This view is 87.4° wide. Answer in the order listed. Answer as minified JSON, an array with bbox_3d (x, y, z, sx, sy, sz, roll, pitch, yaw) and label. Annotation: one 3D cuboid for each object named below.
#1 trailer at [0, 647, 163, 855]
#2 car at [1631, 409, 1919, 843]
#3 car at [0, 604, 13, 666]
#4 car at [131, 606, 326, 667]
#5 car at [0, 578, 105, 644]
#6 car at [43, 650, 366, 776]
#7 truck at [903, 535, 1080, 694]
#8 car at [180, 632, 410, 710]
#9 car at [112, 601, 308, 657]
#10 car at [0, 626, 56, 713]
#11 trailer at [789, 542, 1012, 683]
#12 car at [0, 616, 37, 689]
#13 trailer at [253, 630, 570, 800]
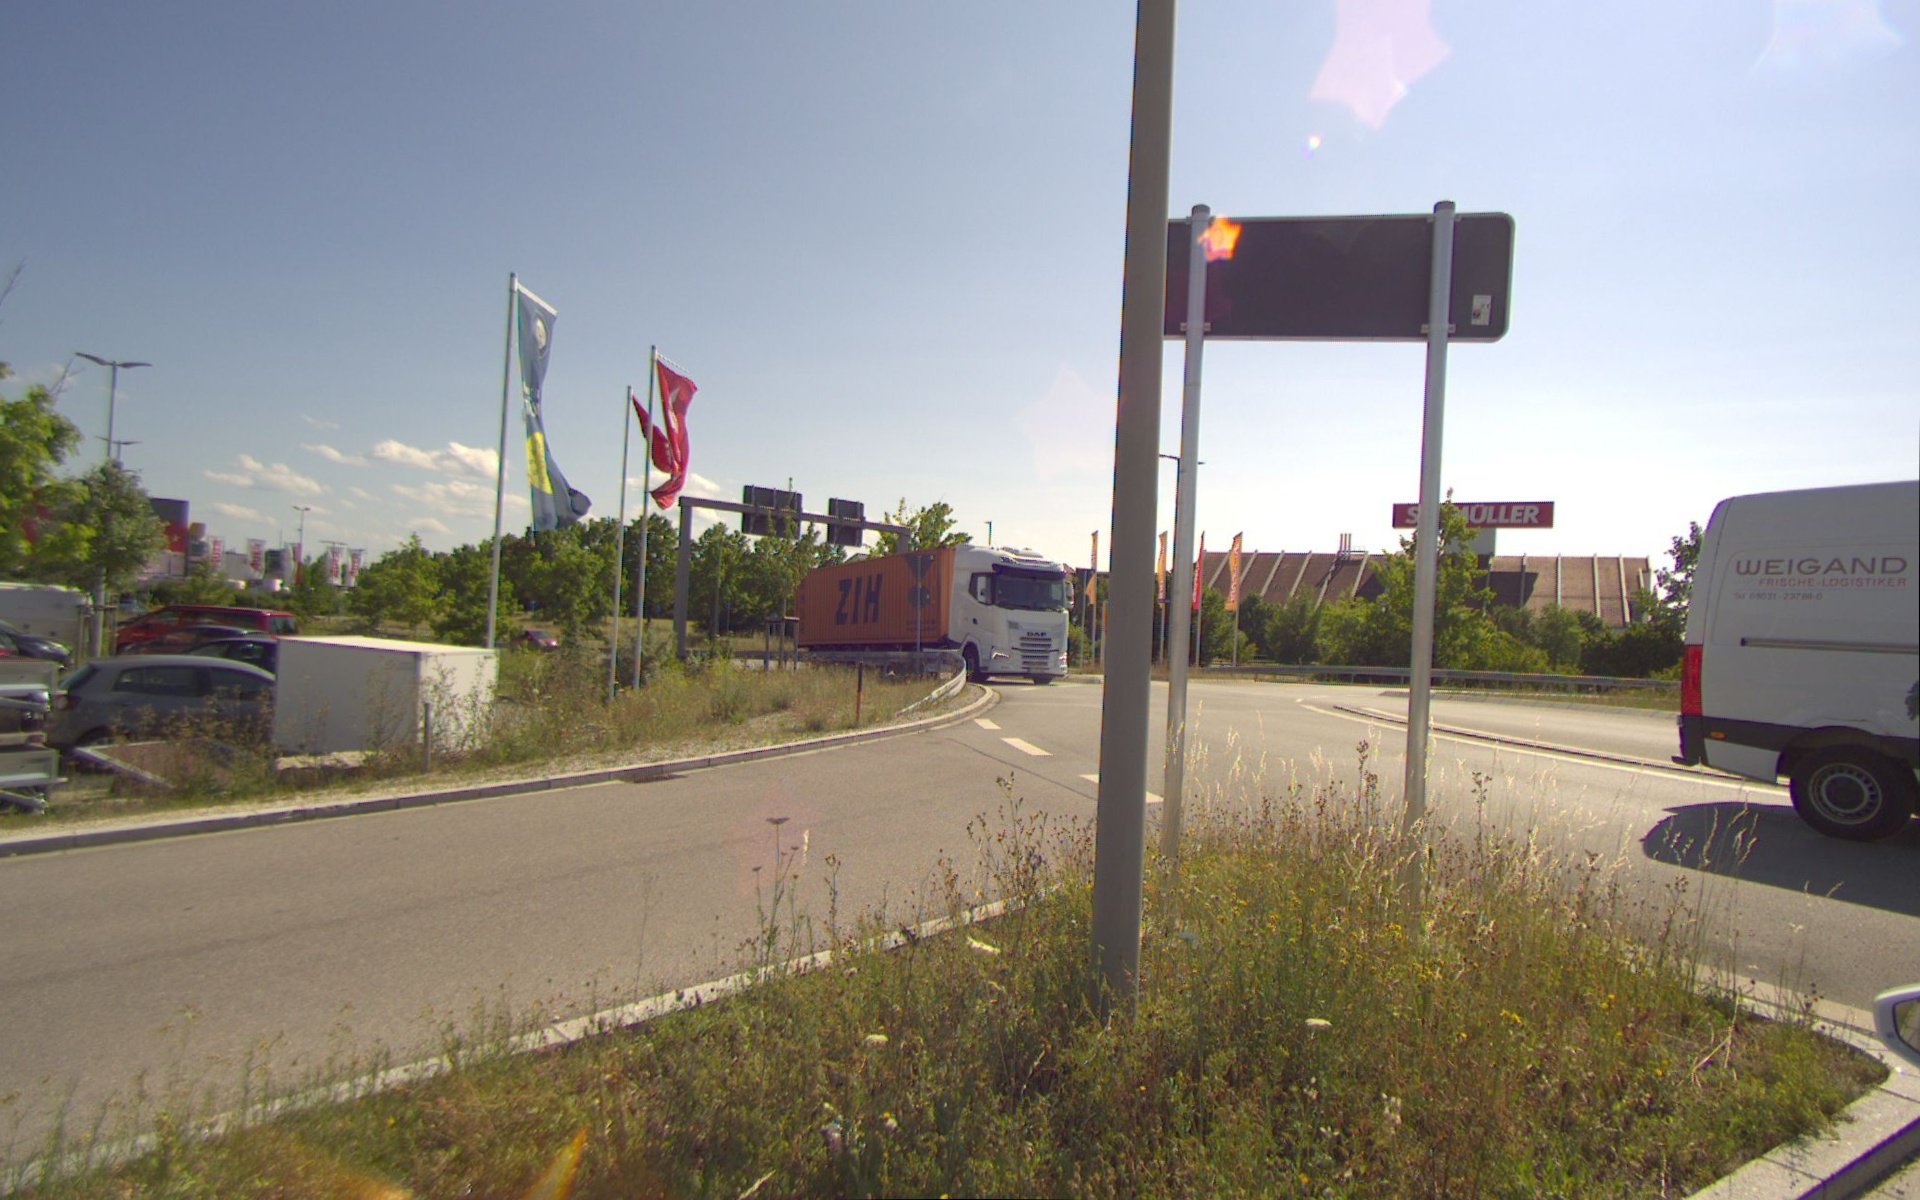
[{"bbox_3d":[-10.660,1.464,10.594,3.623,1.795,1.808,2,0,19],"label":"trailer"},{"bbox_3d":[8.029,0.229,6.256,2.059,2.960,6.093,2,0,-28],"label":"car"},{"bbox_3d":[-25.341,0.792,23.799,3.964,1.483,1.806,3,0,-37],"label":"car"},{"bbox_3d":[-20.225,0.984,27.929,3.925,1.483,1.823,2,0,-6],"label":"car"},{"bbox_3d":[-30.627,0.327,32.615,4.316,2.040,1.881,3,0,-41],"label":"car"},{"bbox_3d":[-11.322,1.607,15.261,3.713,1.572,1.724,3,0,-40],"label":"car"},{"bbox_3d":[0.730,0.417,29.817,2.626,4.161,6.396,2,-1,-24],"label":"truck"},{"bbox_3d":[-15.293,1.634,23.292,3.926,1.483,1.824,4,-2,-6],"label":"car"},{"bbox_3d":[-22.616,0.864,30.445,4.372,1.483,1.823,3,0,-6],"label":"car"},{"bbox_3d":[-18.091,1.171,17.088,3.971,1.483,1.803,3,-3,-42],"label":"car"},{"bbox_3d":[-2.637,0.397,35.911,2.532,4.208,12.257,2,-1,-31],"label":"trailer"},{"bbox_3d":[-21.992,1.057,20.832,3.964,1.483,1.806,3,0,-37],"label":"car"},{"bbox_3d":[-7.568,1.475,13.932,3.624,1.795,1.808,4,1,19],"label":"trailer"}]
